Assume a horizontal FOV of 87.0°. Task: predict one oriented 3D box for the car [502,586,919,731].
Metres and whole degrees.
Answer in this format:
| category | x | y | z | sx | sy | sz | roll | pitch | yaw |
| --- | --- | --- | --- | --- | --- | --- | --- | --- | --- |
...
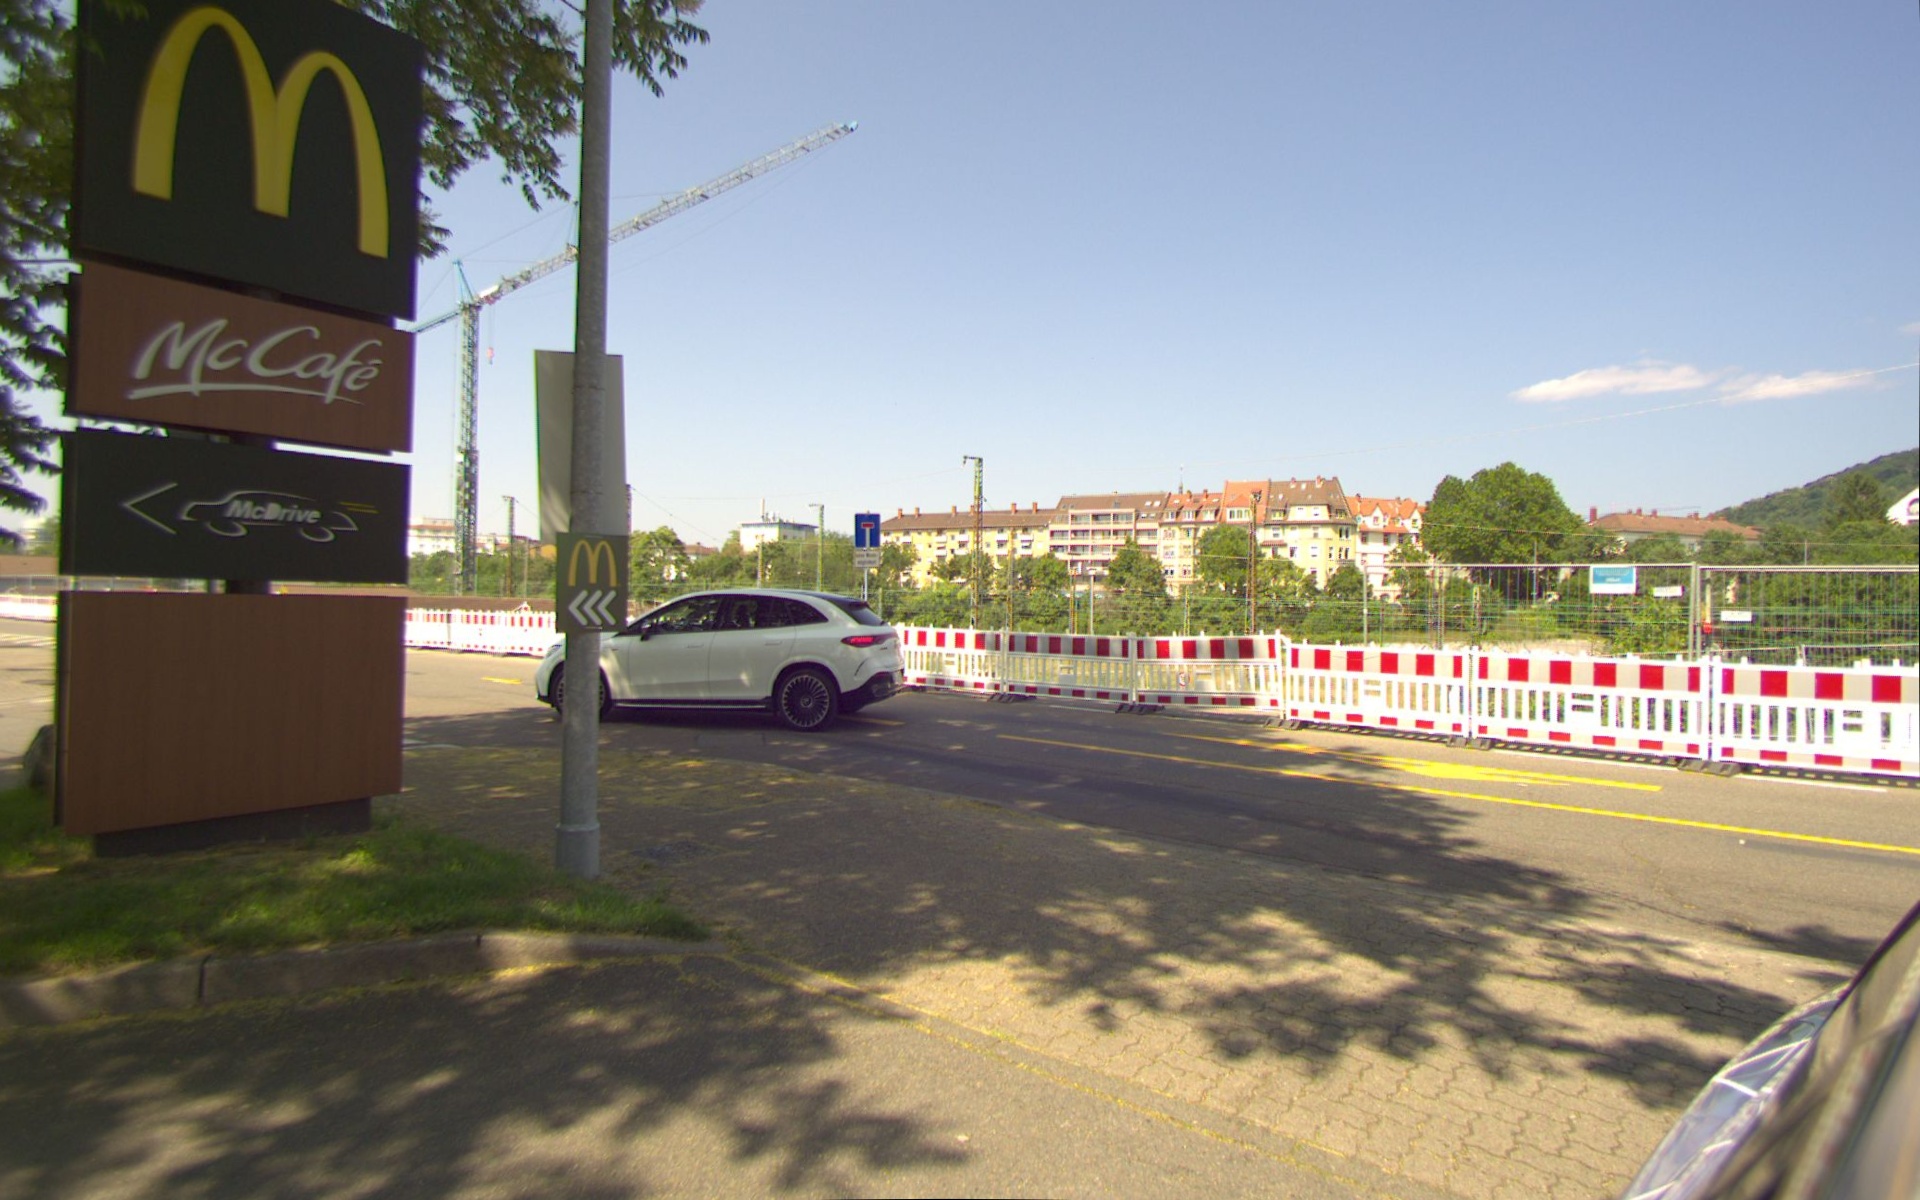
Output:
| category | x | y | z | sx | sy | sz | roll | pitch | yaw |
| --- | --- | --- | --- | --- | --- | --- | --- | --- | --- |
| car | -3.160 | 0.666 | 13.269 | 4.949 | 1.665 | 1.995 | 0 | 1 | 10 |
